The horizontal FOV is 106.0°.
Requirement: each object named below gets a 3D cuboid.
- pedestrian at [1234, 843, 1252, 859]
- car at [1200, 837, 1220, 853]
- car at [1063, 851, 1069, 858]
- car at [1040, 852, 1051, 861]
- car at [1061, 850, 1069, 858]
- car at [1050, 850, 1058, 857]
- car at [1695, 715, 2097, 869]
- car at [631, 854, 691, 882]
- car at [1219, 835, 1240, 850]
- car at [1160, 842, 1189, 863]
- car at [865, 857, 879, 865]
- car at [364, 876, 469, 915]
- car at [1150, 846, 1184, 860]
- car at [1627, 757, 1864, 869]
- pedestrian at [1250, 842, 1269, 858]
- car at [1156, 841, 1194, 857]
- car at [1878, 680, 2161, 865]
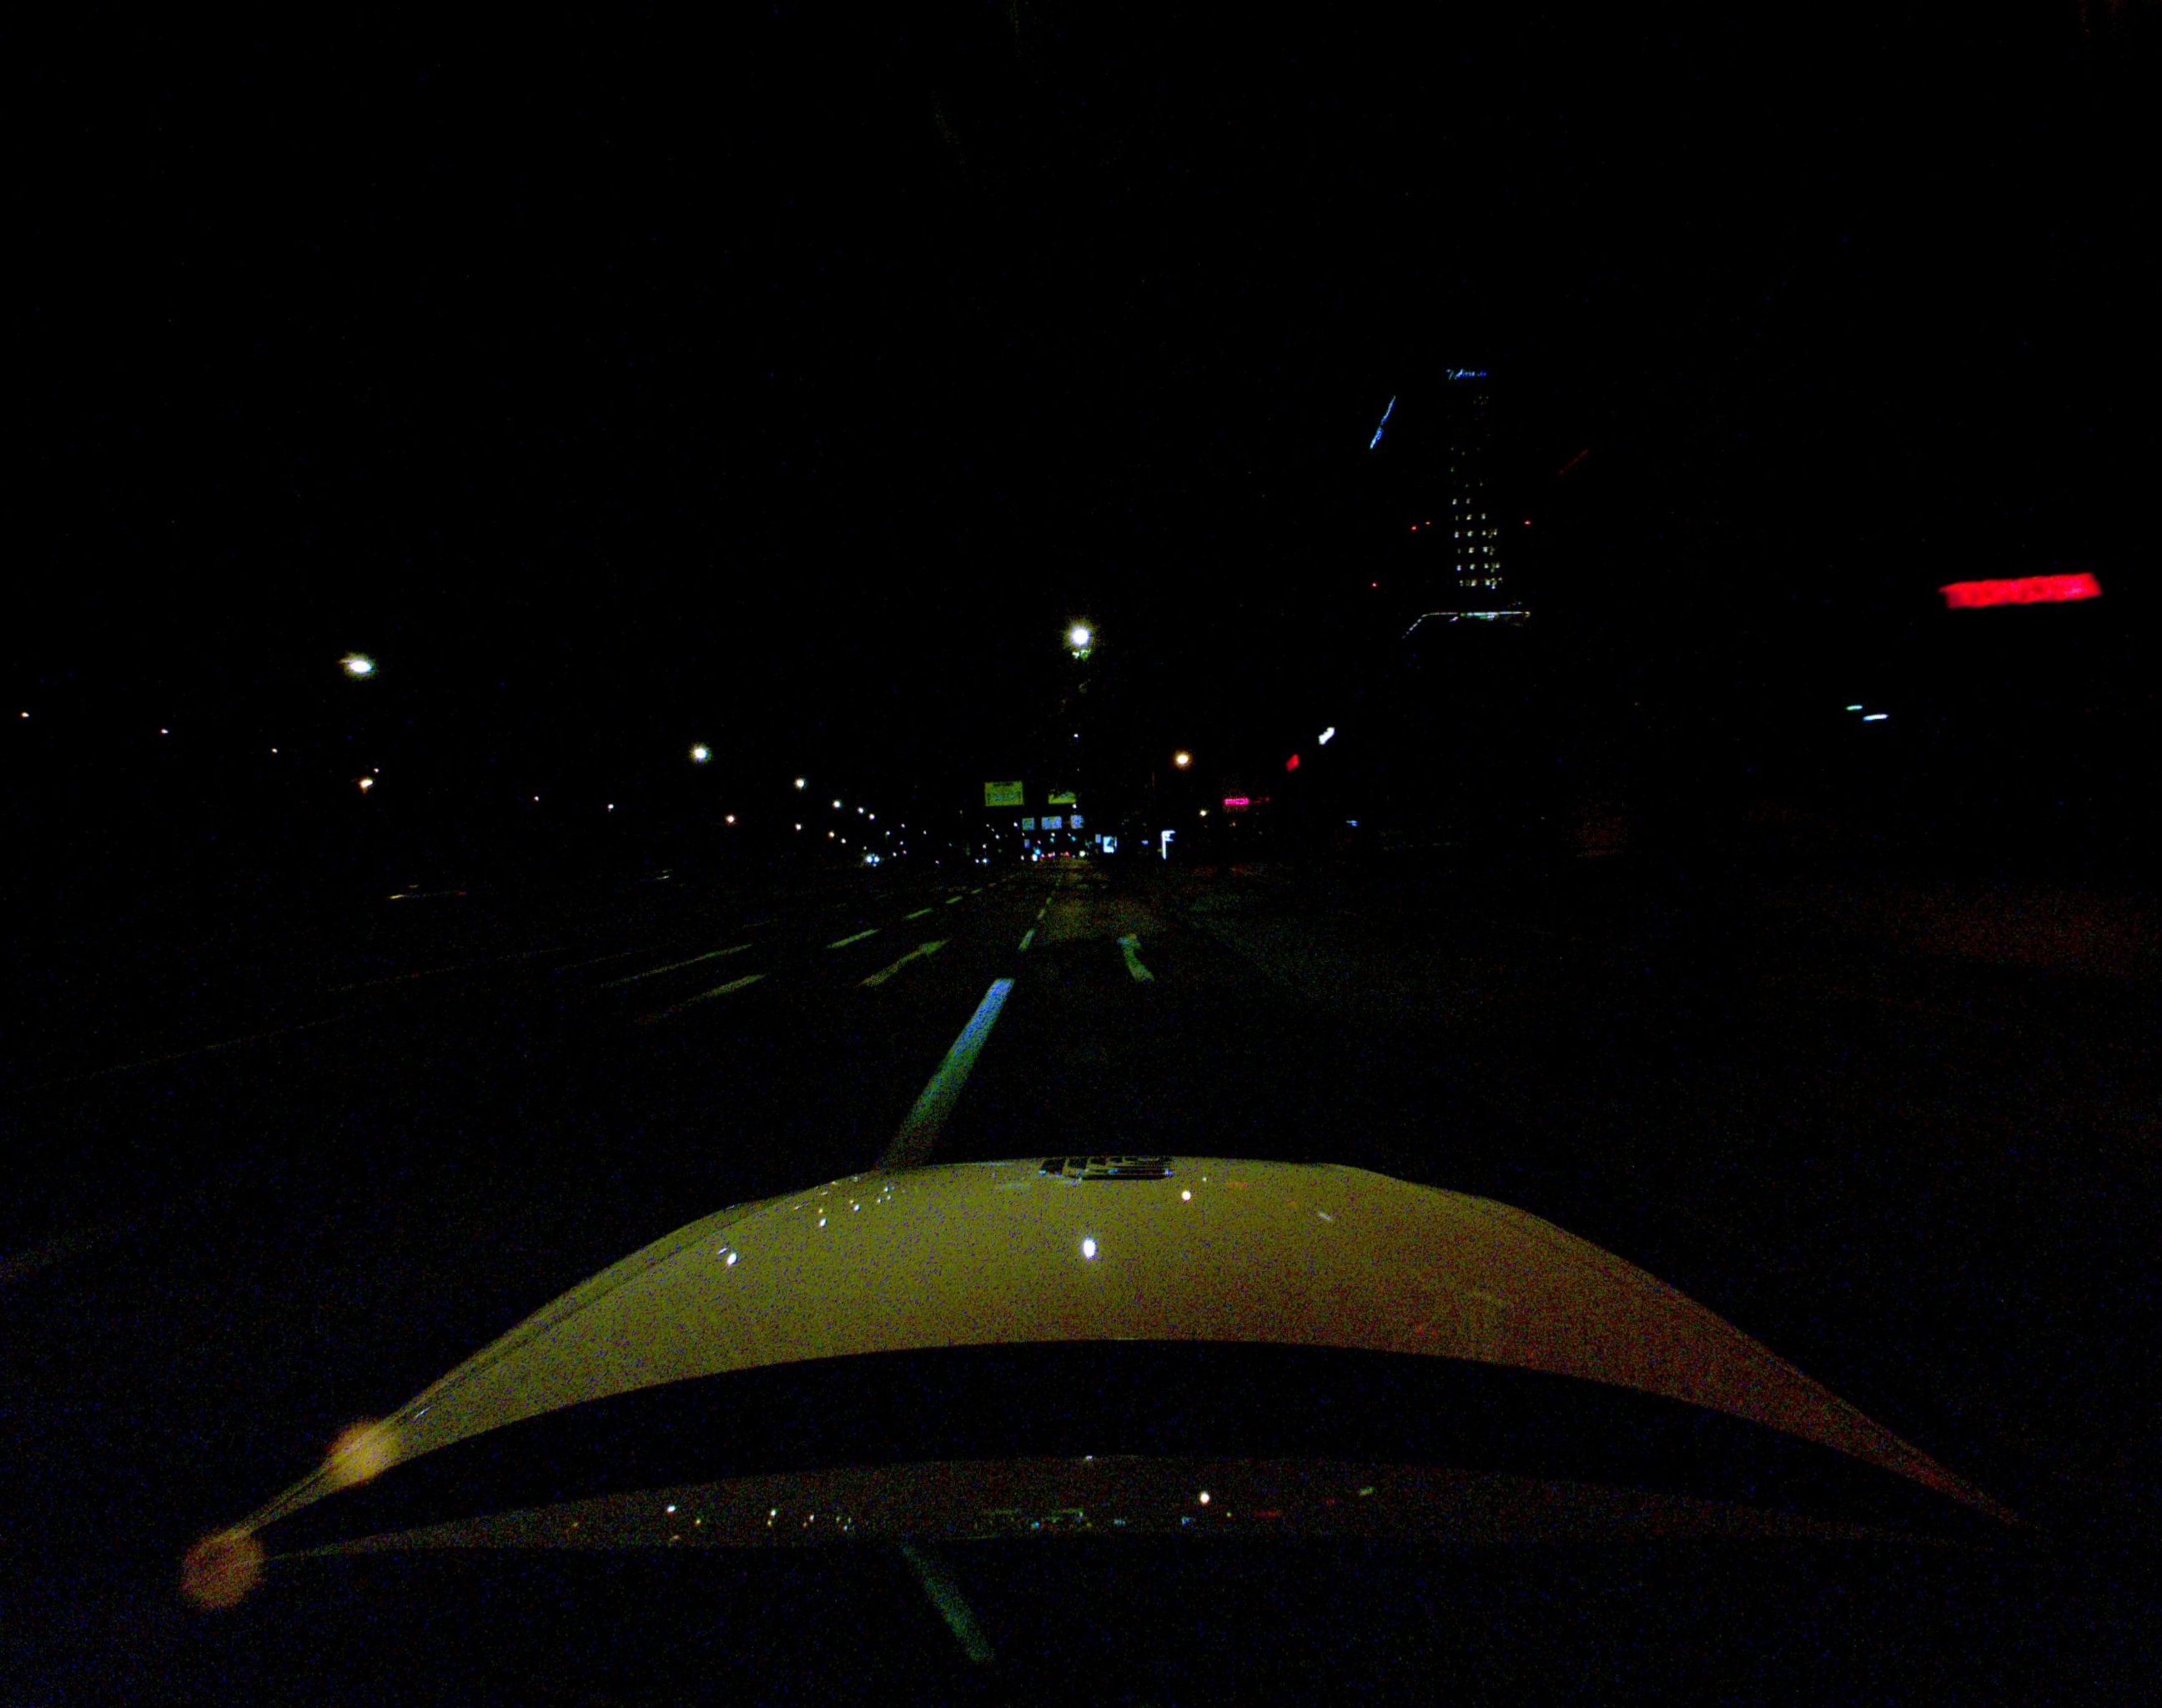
[{"bbox_3d":[11.119,-0.227,55.854,0.902,1.038,0.776,-4,-1,43],"label":"pedestrian"},{"bbox_3d":[13.432,-0.948,85.052,1.883,1.511,3.643,-1,-1,7],"label":"car"},{"bbox_3d":[-4.238,0.137,228.138,1.775,1.728,3.998,-1,-1,-1],"label":"car"},{"bbox_3d":[-7.086,0.512,163.285,1.960,1.711,4.002,-1,-1,2],"label":"car"},{"bbox_3d":[-4.355,-0.116,218.654,1.987,2.014,3.998,-1,-1,-1],"label":"car"},{"bbox_3d":[-7.503,-0.128,223.308,1.987,1.596,3.999,-3,-1,0],"label":"car"},{"bbox_3d":[10.393,-0.742,10.560,3.556,1.570,1.724,-5,-1,-5],"label":"car"},{"bbox_3d":[-27.216,0.863,52.864,1.795,1.695,3.999,-1,0,-1],"label":"car"},{"bbox_3d":[15.766,-1.202,86.451,1.883,1.511,3.643,-1,-1,7],"label":"car"},{"bbox_3d":[9.029,-0.110,78.198,1.978,1.945,4.018,-2,-1,17],"label":"car"},{"bbox_3d":[-39.387,1.332,153.537,1.620,1.481,3.679,-1,-1,0],"label":"car"},{"bbox_3d":[-31.915,1.949,39.278,1.826,1.685,3.997,-1,-1,-2],"label":"car"},{"bbox_3d":[9.651,-0.108,91.427,3.504,1.508,1.733,-1,-1,-4],"label":"car"},{"bbox_3d":[11.017,-0.693,13.457,3.857,1.490,1.723,-5,-3,-31],"label":"car"},{"bbox_3d":[12.262,-0.267,55.977,1.000,1.008,0.767,-1,-1,-16],"label":"pedestrian"},{"bbox_3d":[9.612,-0.513,83.510,3.617,1.451,1.705,-1,-1,-4],"label":"car"},{"bbox_3d":[10.342,-0.799,7.792,3.715,1.489,1.740,-5,-1,-2],"label":"car"}]
